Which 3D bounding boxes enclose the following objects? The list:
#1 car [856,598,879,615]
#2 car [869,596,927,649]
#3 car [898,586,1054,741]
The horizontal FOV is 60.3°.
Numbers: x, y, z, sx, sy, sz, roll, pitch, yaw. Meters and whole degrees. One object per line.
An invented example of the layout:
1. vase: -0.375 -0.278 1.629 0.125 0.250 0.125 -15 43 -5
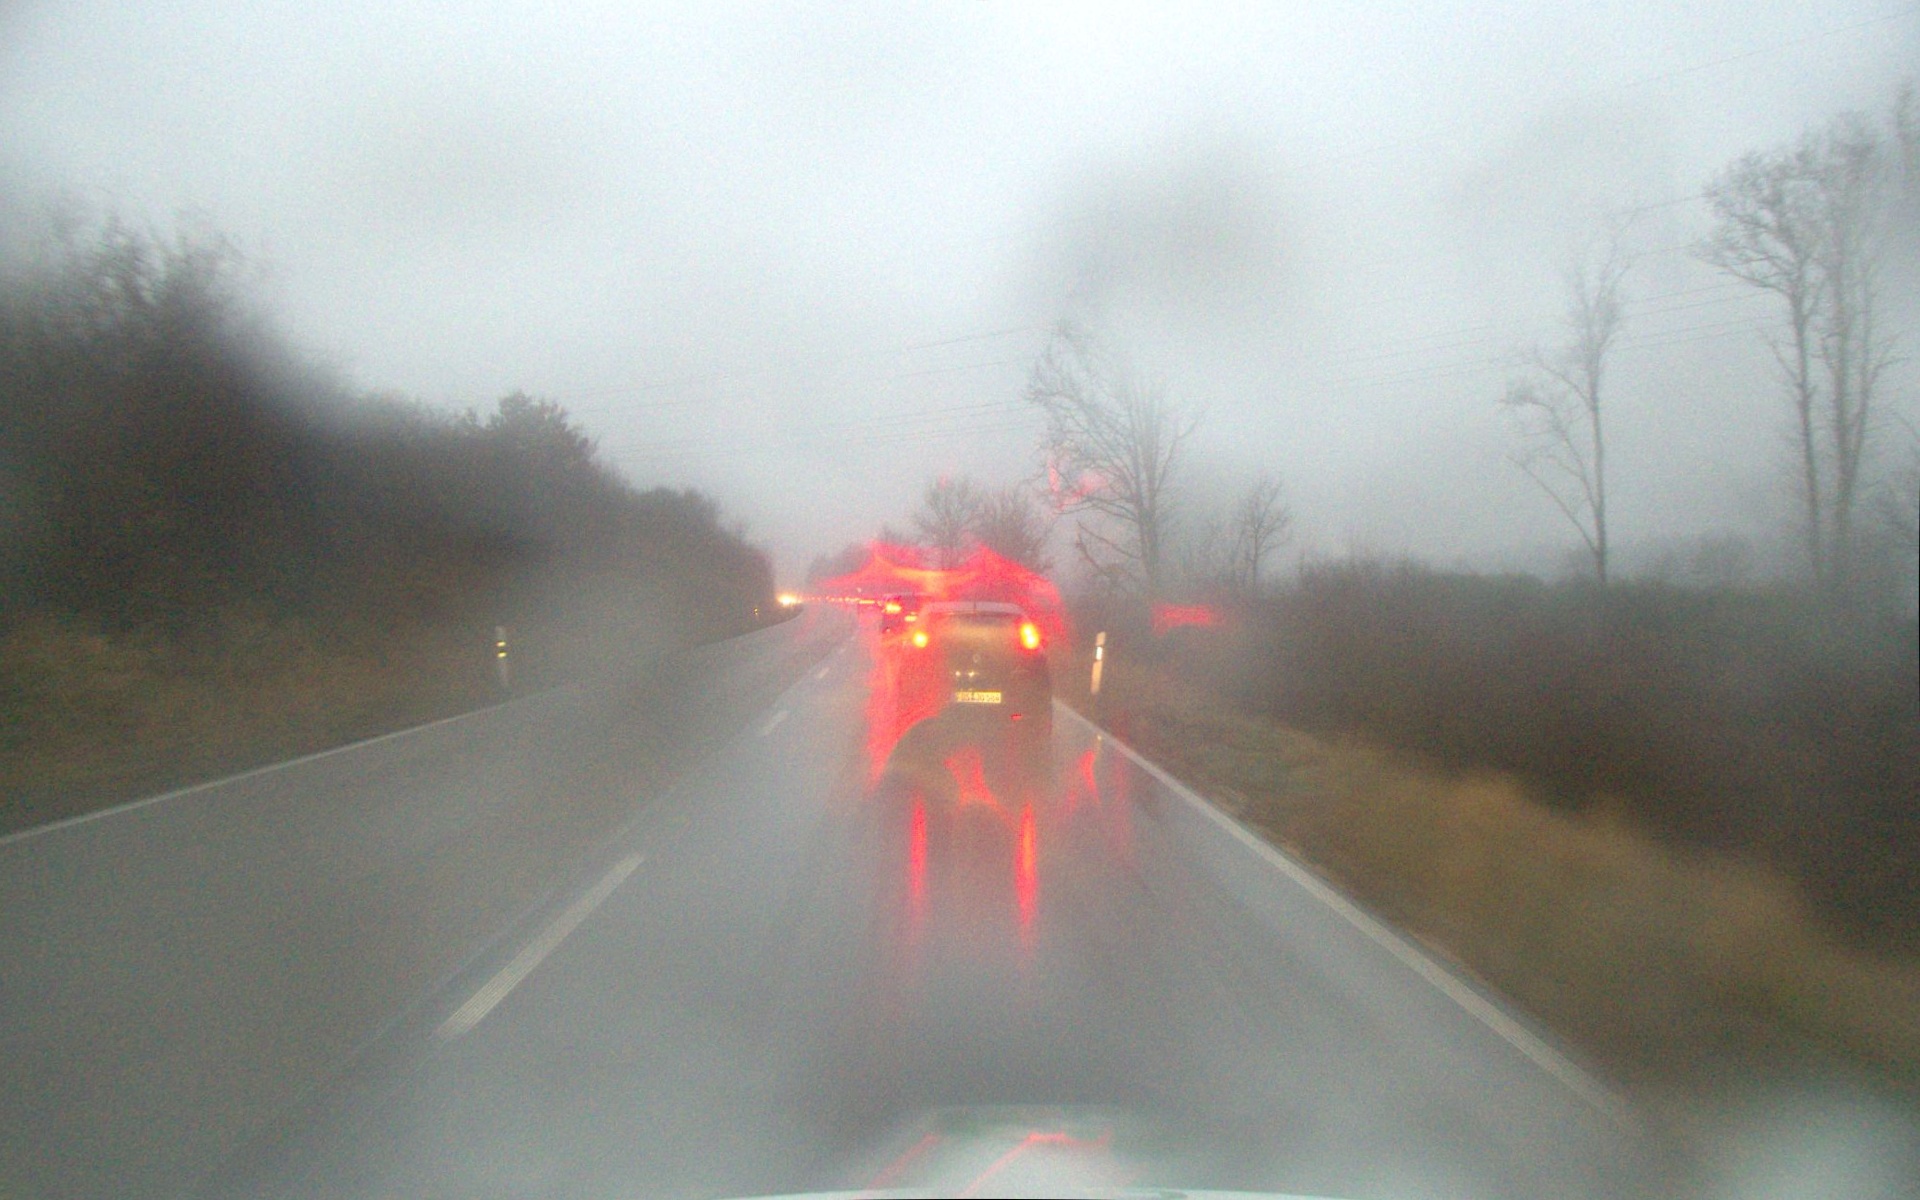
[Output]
1. car: -7.803 0.530 139.318 1.514 1.421 3.871 1 0 3
2. car: -1.712 0.598 46.501 1.515 1.421 3.868 1 0 -1
3. car: 0.223 0.637 18.735 1.569 1.548 3.870 1 0 2
